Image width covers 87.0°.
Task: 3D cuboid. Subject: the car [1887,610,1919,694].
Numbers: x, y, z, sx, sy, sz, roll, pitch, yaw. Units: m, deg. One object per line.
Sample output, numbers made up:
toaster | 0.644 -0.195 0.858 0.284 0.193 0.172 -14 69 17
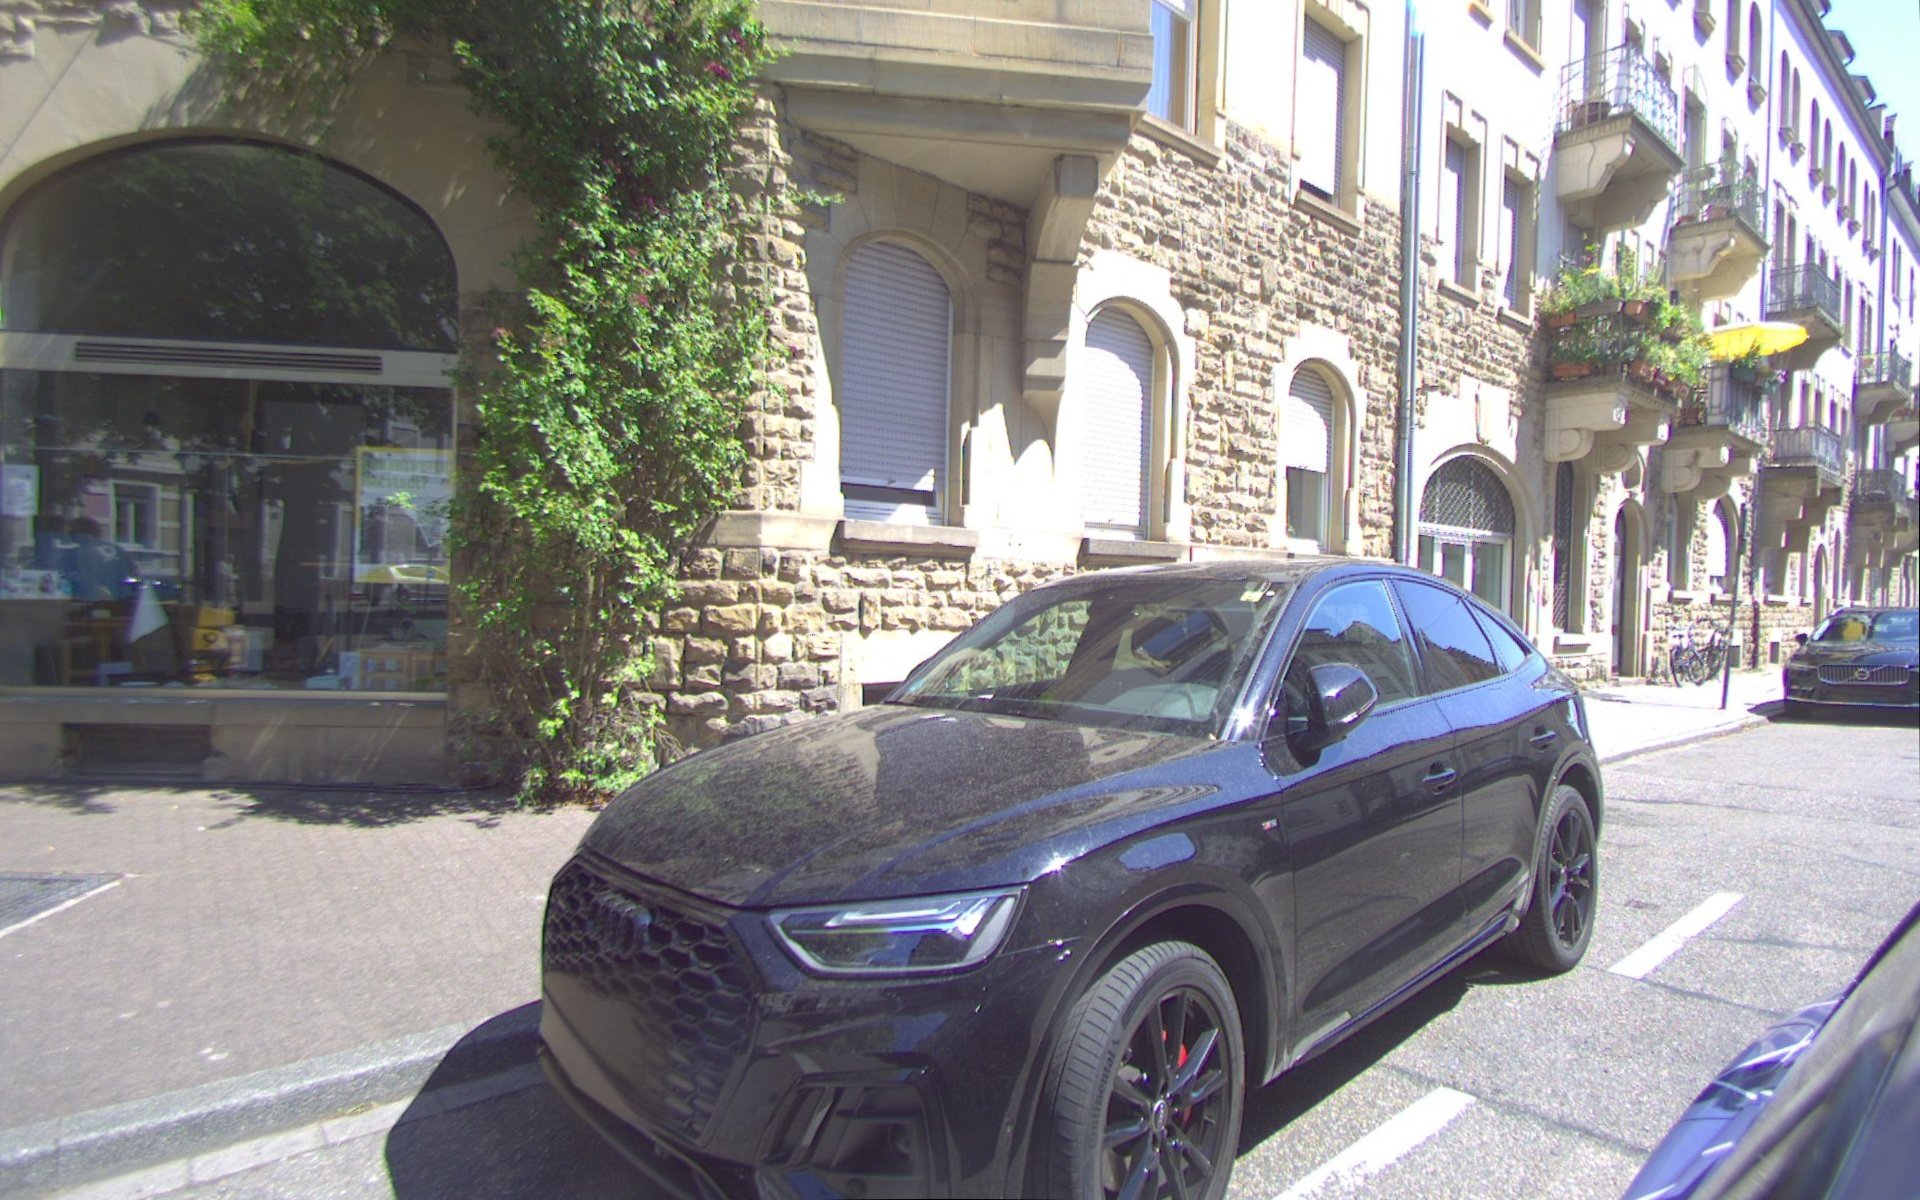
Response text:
car | 17.962 0.898 18.203 3.903 1.416 1.514 0 0 -42

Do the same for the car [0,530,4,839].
car | -3.146 0.624 0.260 4.104 1.560 1.666 0 0 -41

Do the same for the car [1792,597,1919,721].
car | 13.818 0.765 14.791 4.524 1.587 1.836 0 0 -41

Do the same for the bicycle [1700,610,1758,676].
bicycle | 15.059 0.813 19.816 1.743 1.222 0.442 0 2 -38

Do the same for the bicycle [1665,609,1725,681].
bicycle | 13.285 0.787 18.277 1.743 1.222 0.385 0 2 -38

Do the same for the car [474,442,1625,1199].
car | 0.786 0.572 3.651 4.274 1.617 1.737 0 0 -43
